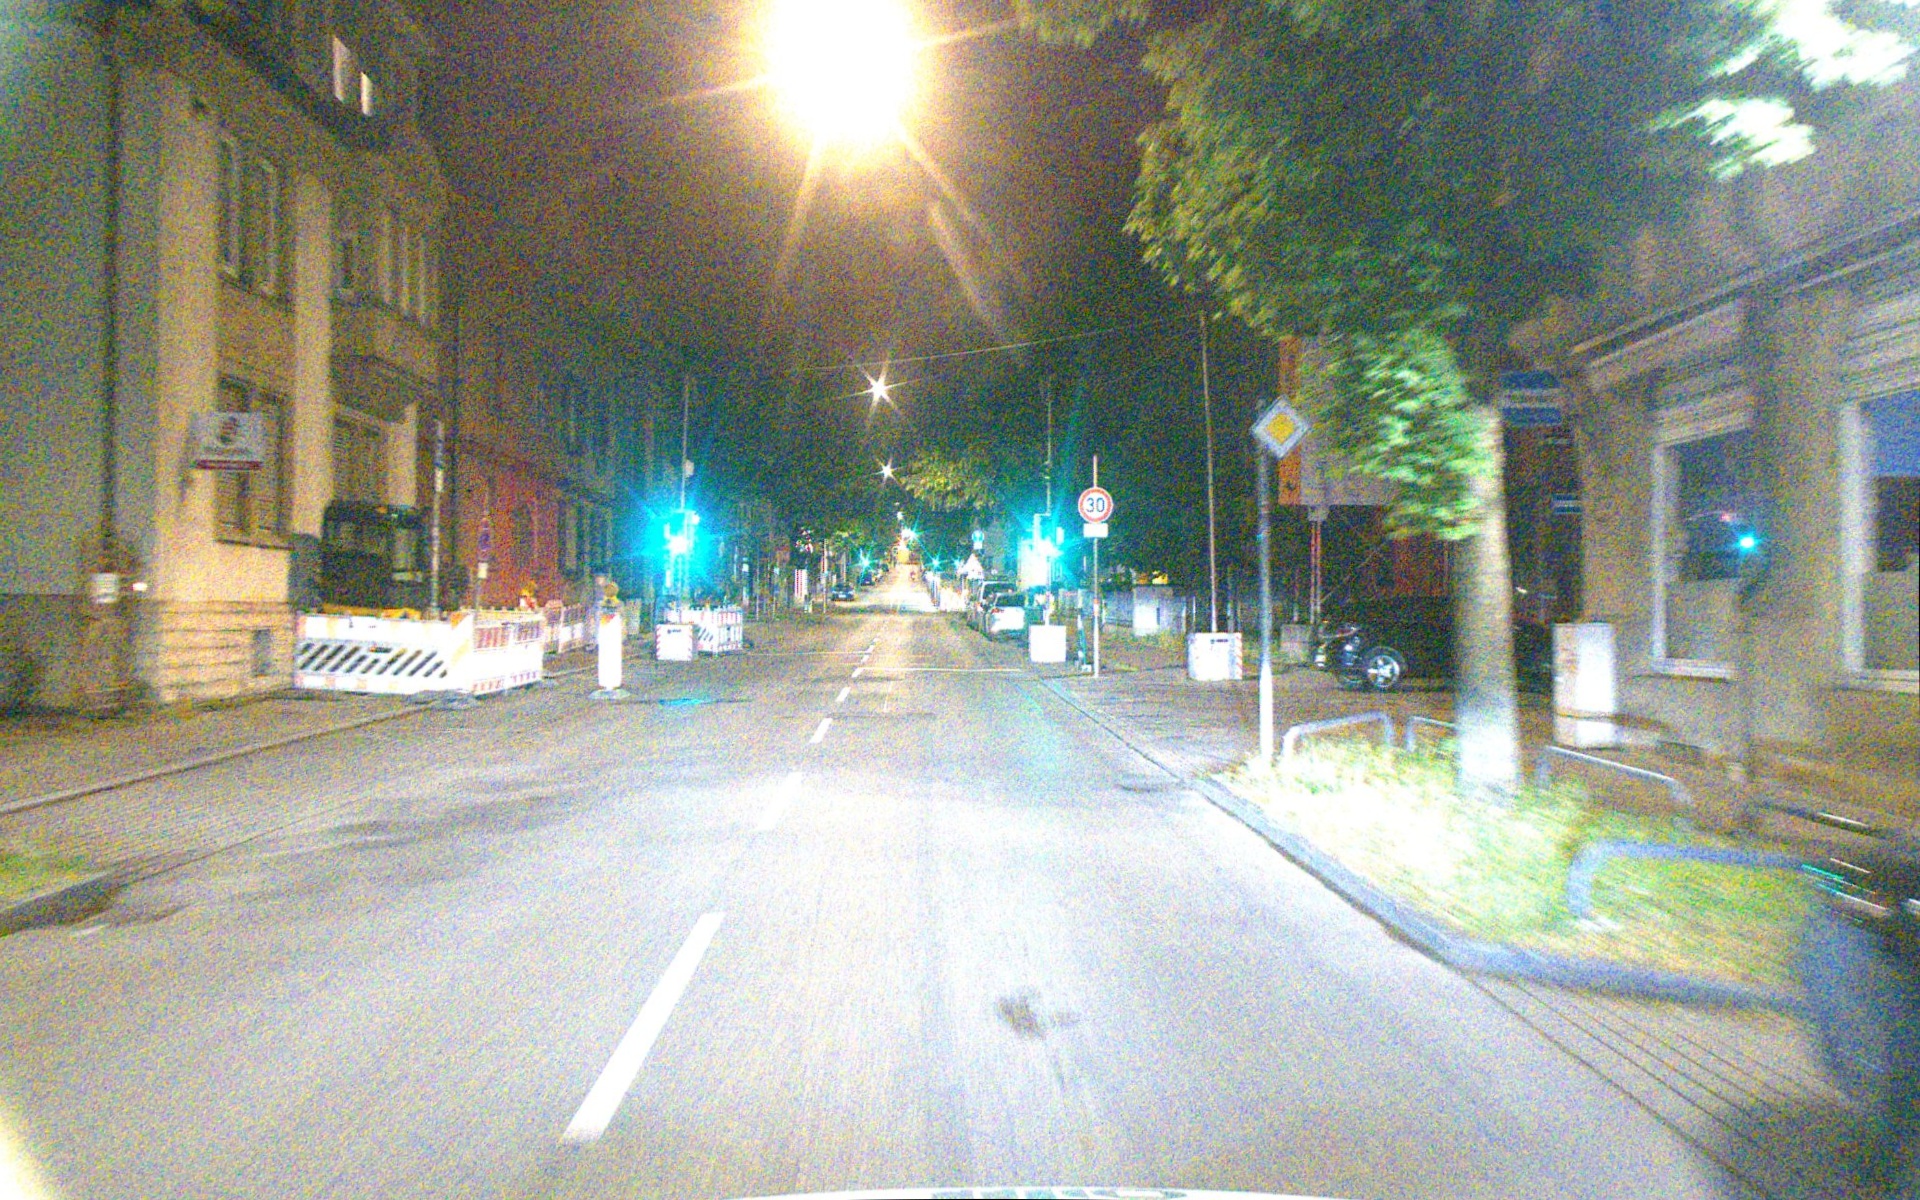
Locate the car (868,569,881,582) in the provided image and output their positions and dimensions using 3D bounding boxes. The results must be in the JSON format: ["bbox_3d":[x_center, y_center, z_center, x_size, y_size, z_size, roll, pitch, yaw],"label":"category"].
[{"bbox_3d":[-12.616,-3.618,244.392,1.835,1.846,4.204,1,2,-2],"label":"car"}]

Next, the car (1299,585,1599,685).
[{"bbox_3d":[7.272,0.523,24.834,3.934,1.447,1.851,0,-1,-4],"label":"car"}]

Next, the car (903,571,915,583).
[{"bbox_3d":[-7.873,-3.540,254.998,1.835,1.846,4.204,1,1,-1],"label":"car"}]

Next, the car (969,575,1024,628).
[{"bbox_3d":[1.336,0.032,62.171,1.701,1.887,4.313,0,0,-3],"label":"car"}]

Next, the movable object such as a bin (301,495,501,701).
[{"bbox_3d":[-7.807,-0.040,23.451,1.539,2.672,3.909,0,0,-1],"label":"movable object such as a bin"}]

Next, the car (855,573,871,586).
[{"bbox_3d":[-11.785,-2.504,201.057,1.835,1.571,4.203,0,1,-2],"label":"car"}]

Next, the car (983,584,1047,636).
[{"bbox_3d":[1.673,0.280,51.066,1.704,1.503,3.999,-2,1,-1],"label":"car"}]

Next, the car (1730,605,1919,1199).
[{"bbox_3d":[3.159,0.761,2.983,1.701,1.479,4.000,0,0,0],"label":"car"}]

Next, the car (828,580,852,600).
[{"bbox_3d":[-9.203,-0.746,127.145,1.637,1.468,4.203,0,1,-2],"label":"car"}]
